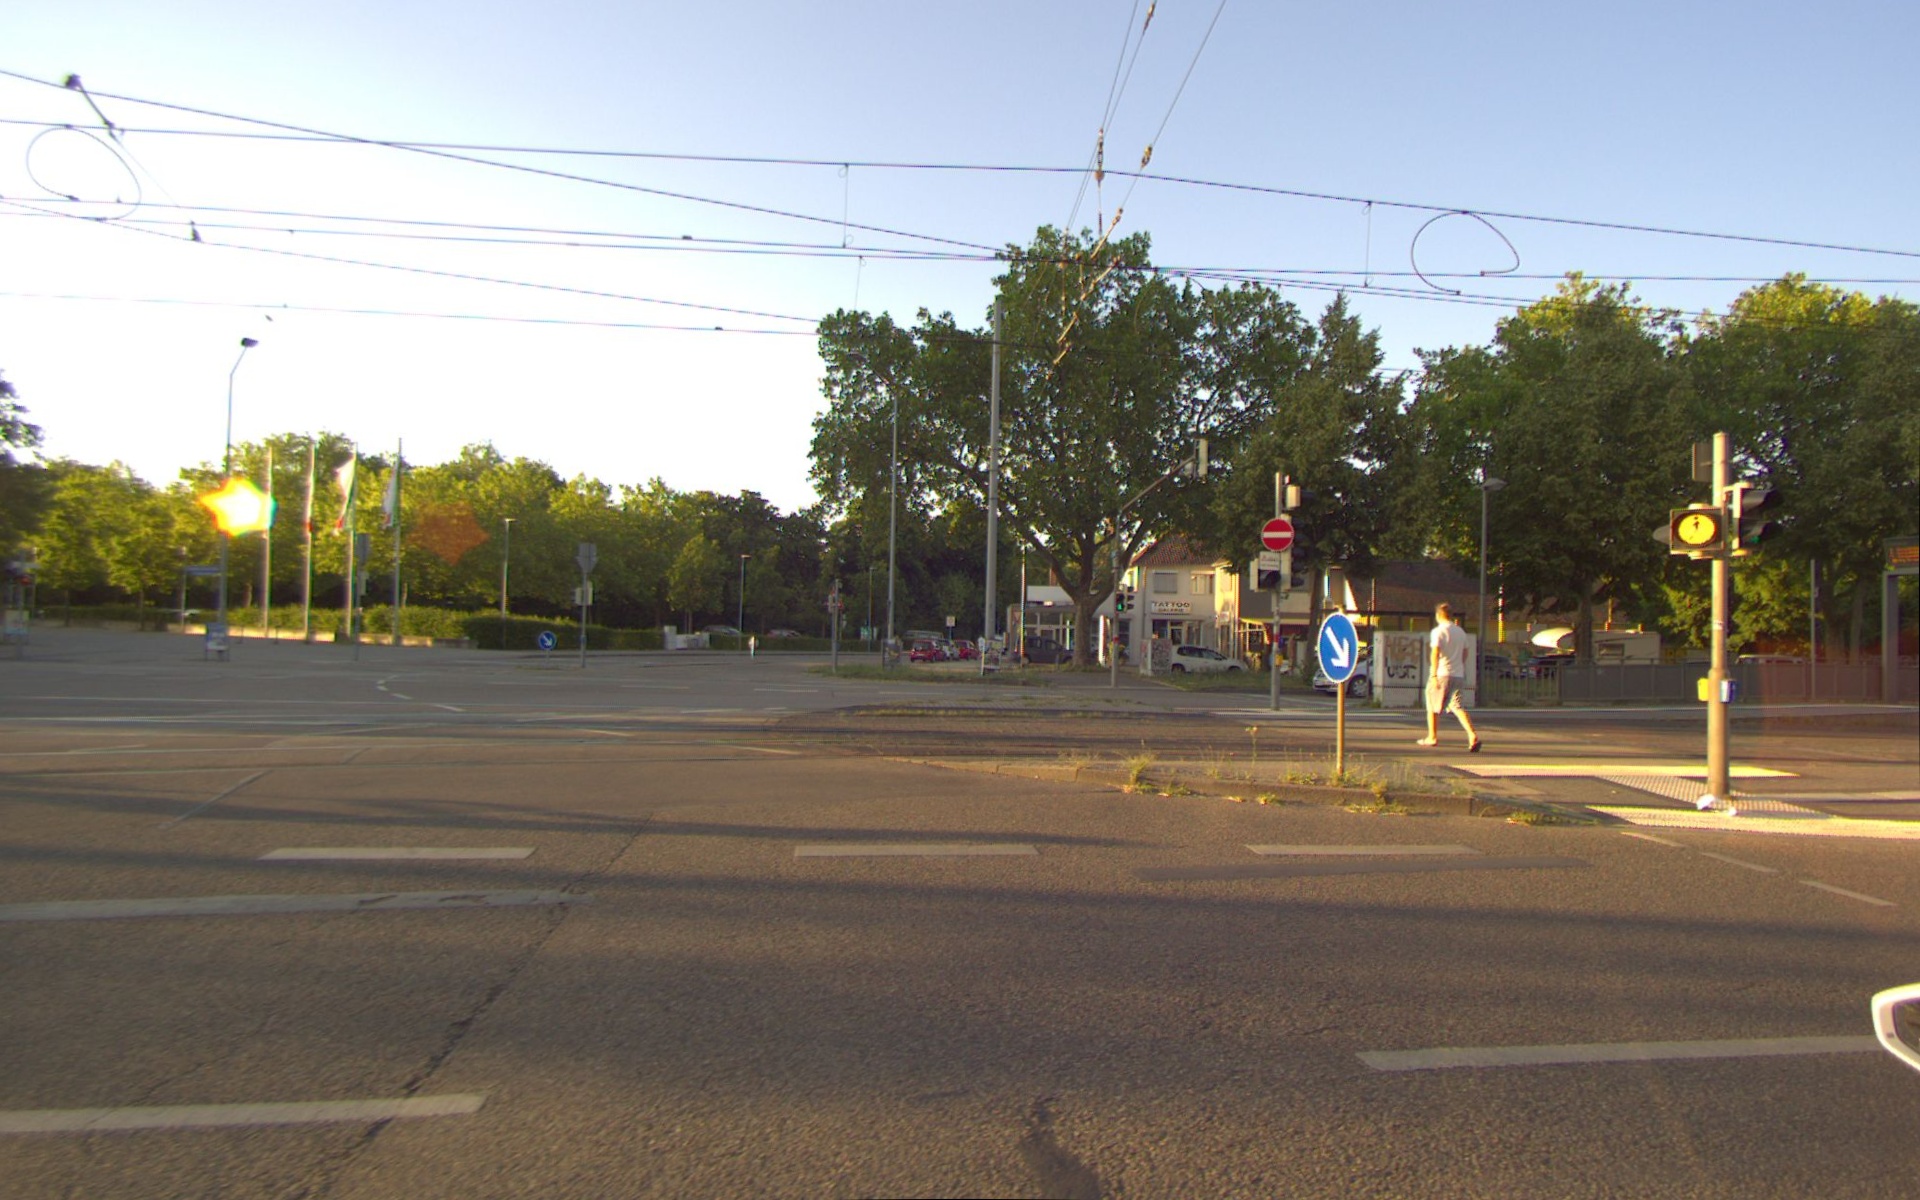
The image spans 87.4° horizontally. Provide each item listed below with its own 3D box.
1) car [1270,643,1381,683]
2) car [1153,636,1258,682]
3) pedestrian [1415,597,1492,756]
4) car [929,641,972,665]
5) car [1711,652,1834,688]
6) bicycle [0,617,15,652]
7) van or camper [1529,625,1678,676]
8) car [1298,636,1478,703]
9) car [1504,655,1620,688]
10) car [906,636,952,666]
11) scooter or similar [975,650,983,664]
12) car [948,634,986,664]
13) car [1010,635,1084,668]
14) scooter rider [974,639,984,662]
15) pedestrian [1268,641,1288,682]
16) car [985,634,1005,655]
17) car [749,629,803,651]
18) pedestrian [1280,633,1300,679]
[{"bbox_3d":[16.163,2.788,44.553,4.161,1.598,2.000,2,-2,-1],"label":"car"},{"bbox_3d":[10.839,2.592,44.564,4.161,1.870,2.000,2,-2,-1],"label":"car"},{"bbox_3d":[5.981,0.905,12.181,0.750,1.814,0.801,2,-2,26],"label":"pedestrian"},{"bbox_3d":[-0.657,3.699,70.863,1.960,1.594,4.002,1,-2,16],"label":"car"},{"bbox_3d":[37.859,3.260,46.861,4.161,1.484,2.000,2,-2,-1],"label":"car"},{"bbox_3d":[-32.011,1.122,32.547,0.688,1.151,2.390,2,-2,-6],"label":"bicycle"},{"bbox_3d":[34.137,2.683,53.409,6.455,2.441,2.265,2,-3,0],"label":"van or camper"},{"bbox_3d":[12.350,1.990,29.093,4.465,1.750,1.860,2,-2,-8],"label":"car"},{"bbox_3d":[27.602,3.263,46.150,4.161,1.317,1.926,2,-2,-1],"label":"car"},{"bbox_3d":[-2.009,3.376,66.978,1.837,1.899,3.876,1,-2,17],"label":"car"},{"bbox_3d":[1.589,4.679,83.128,0.502,1.104,1.242,2,-2,-4],"label":"scooter or similar"},{"bbox_3d":[0.539,3.629,74.770,1.882,2.074,4.003,1,-2,14],"label":"car"},{"bbox_3d":[5.219,3.117,60.708,4.304,1.859,1.949,1,-2,1],"label":"car"},{"bbox_3d":[1.566,4.156,83.117,0.691,1.879,0.669,2,-2,-4],"label":"scooter rider"},{"bbox_3d":[13.104,2.529,41.395,0.706,1.660,0.897,1,-2,20],"label":"pedestrian"},{"bbox_3d":[3.613,4.558,102.883,1.960,2.040,4.002,1,-2,3],"label":"car"},{"bbox_3d":[-14.612,3.173,80.025,3.922,1.581,2.000,2,-2,-2],"label":"car"},{"bbox_3d":[13.201,2.234,40.223,0.706,1.777,0.897,1,-2,20],"label":"pedestrian"}]
